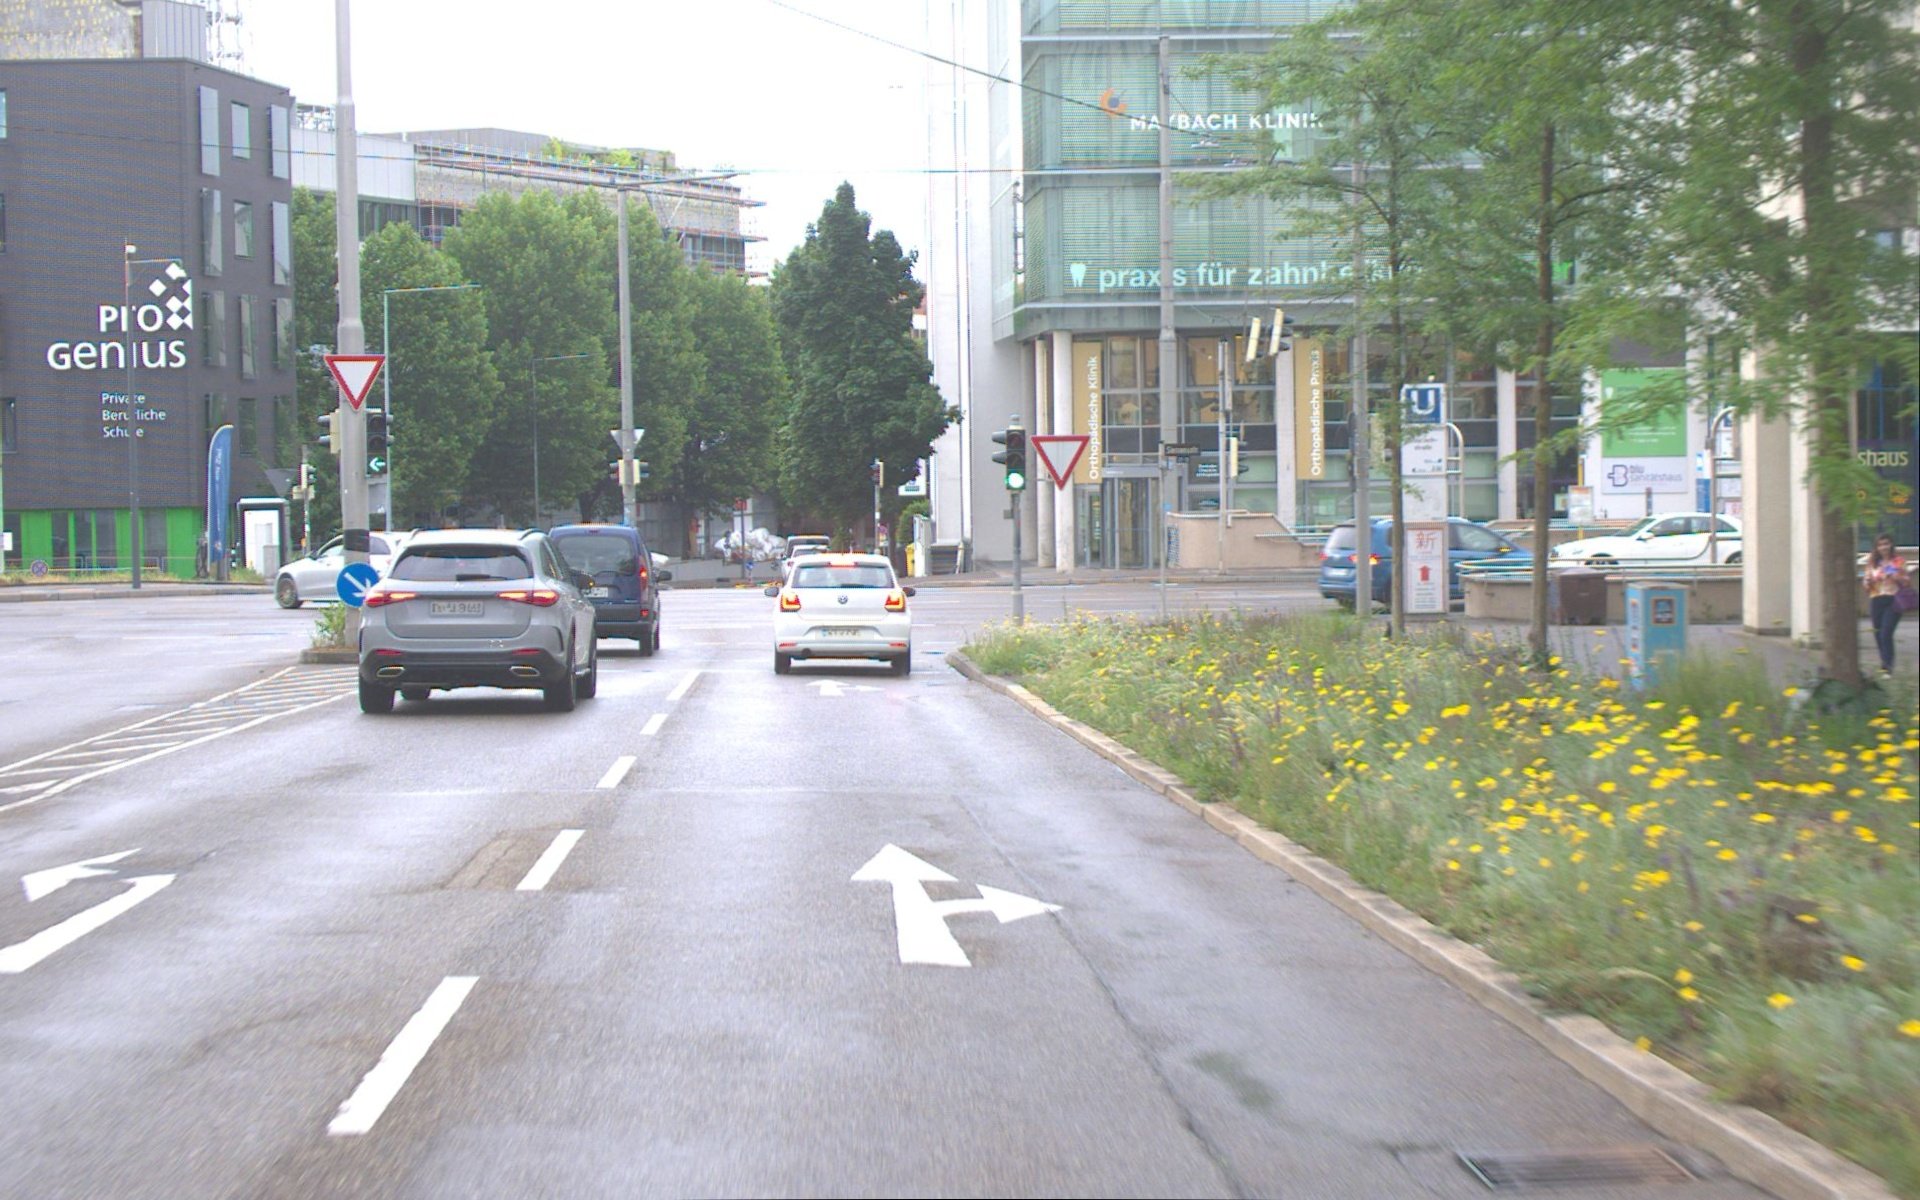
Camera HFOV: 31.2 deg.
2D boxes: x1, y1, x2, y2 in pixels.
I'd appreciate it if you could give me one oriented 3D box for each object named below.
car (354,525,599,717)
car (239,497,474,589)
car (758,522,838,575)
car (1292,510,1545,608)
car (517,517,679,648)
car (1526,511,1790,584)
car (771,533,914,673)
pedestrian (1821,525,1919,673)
[{"bbox_3d":[-4.385,0.140,31.750,1.908,1.626,4.211,1,1,-4],"label":"car"},{"bbox_3d":[-11.326,-1.077,64.375,4.488,1.573,1.995,3,2,43],"label":"car"},{"bbox_3d":[-5.419,-1.711,114.615,1.993,1.711,4.001,1,1,-13],"label":"car"},{"bbox_3d":[8.134,-0.753,61.038,3.986,1.568,2.001,-2,3,-22],"label":"car"},{"bbox_3d":[-5.211,-0.285,49.097,1.852,1.762,4.132,-1,1,-12],"label":"car"},{"bbox_3d":[14.141,-1.077,69.786,4.946,1.382,1.824,-1,3,-4],"label":"car"},{"bbox_3d":[-1.483,-0.004,42.473,1.671,1.468,3.780,-1,4,-3],"label":"car"},{"bbox_3d":[10.921,-0.024,40.799,1.085,1.706,0.875,-1,3,-44],"label":"pedestrian"}]
